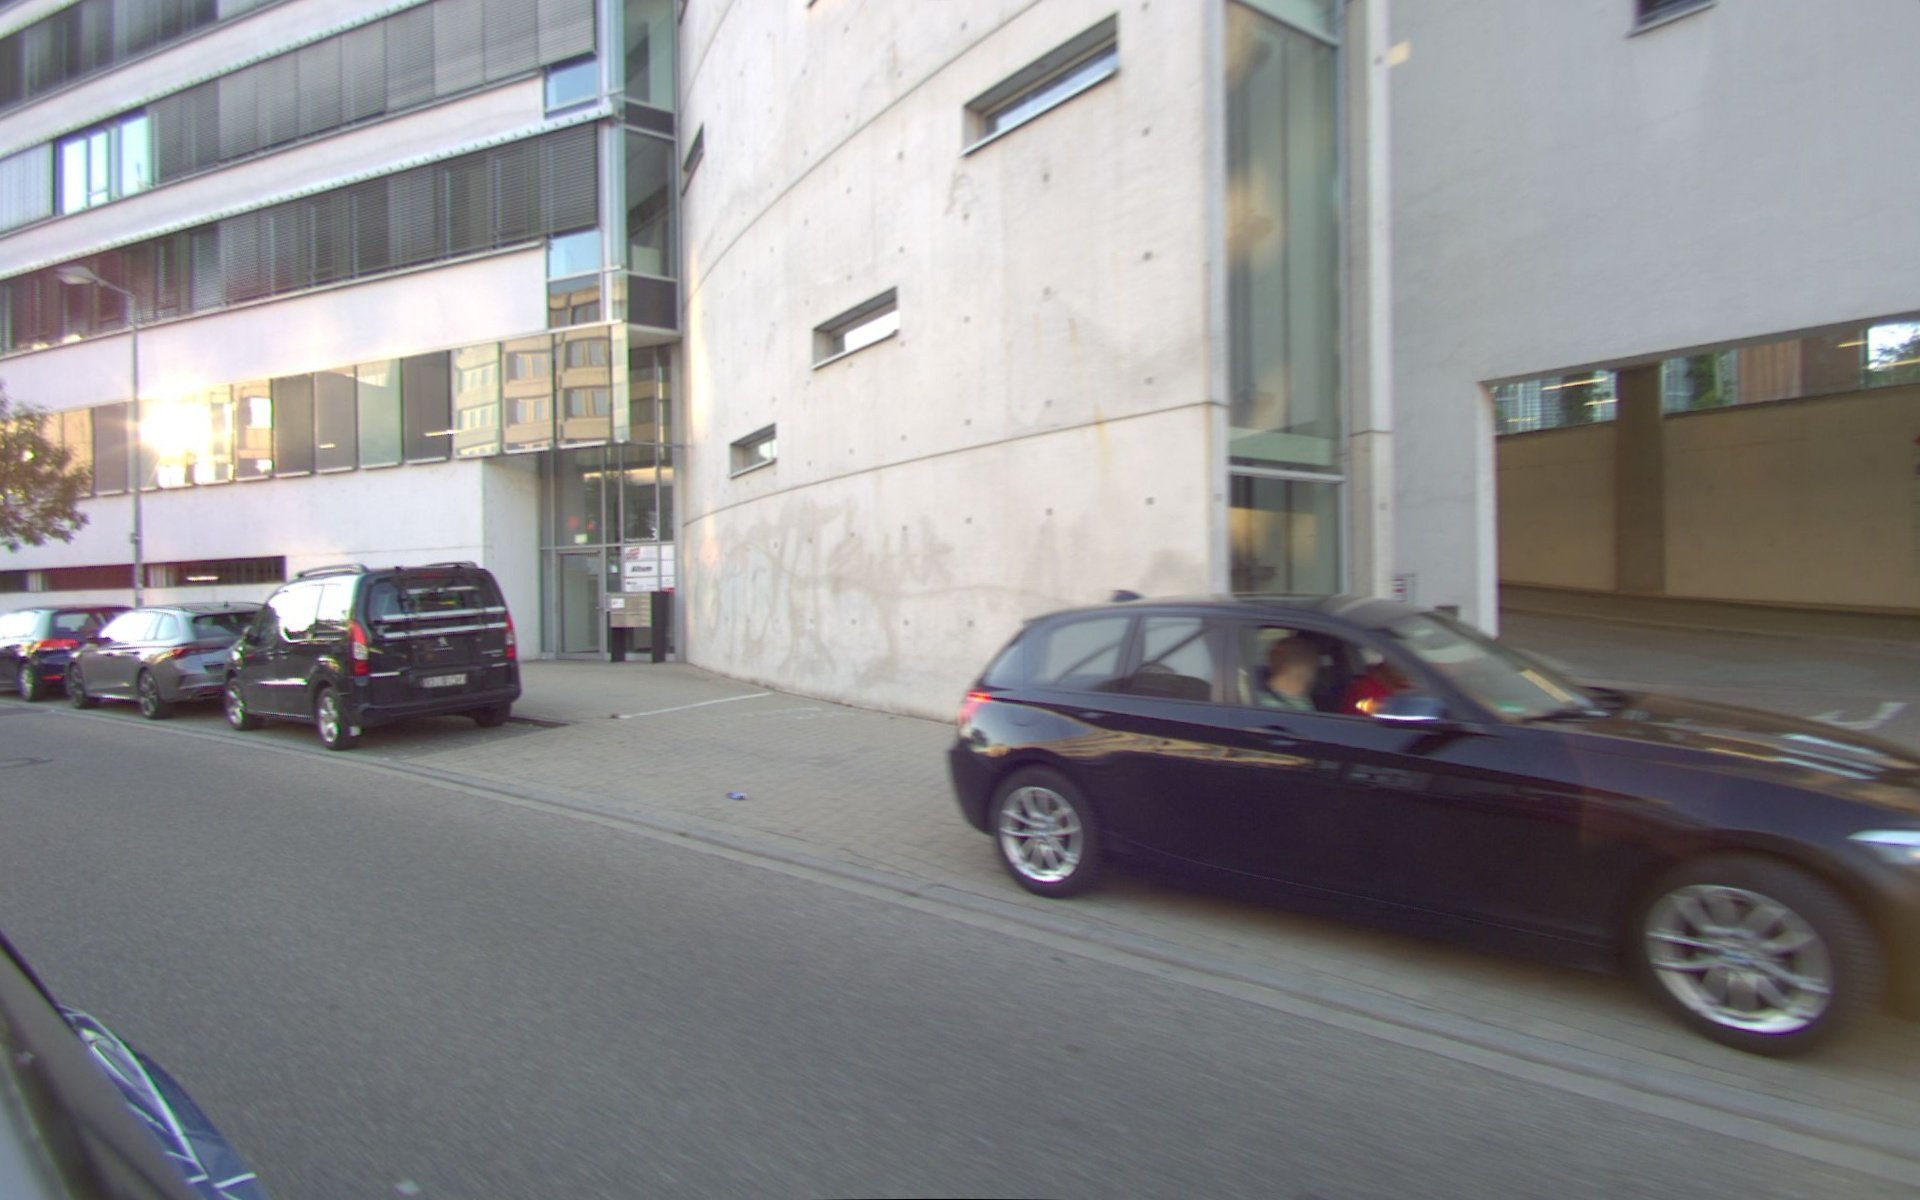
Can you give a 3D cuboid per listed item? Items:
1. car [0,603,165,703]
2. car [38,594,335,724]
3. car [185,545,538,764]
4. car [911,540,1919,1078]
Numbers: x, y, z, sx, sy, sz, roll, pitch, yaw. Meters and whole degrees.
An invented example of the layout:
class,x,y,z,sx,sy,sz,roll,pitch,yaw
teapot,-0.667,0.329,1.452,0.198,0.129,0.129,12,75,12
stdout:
class,x,y,z,sx,sy,sz,roll,pitch,yaw
car,-14.951,0.826,16.695,3.751,1.488,1.636,-1,-1,30
car,-10.860,0.750,14.130,4.506,1.488,1.846,-1,2,33
car,-6.833,0.501,11.355,4.512,1.987,1.871,-1,1,39
car,1.975,0.561,4.452,4.225,1.453,1.834,-1,2,40
